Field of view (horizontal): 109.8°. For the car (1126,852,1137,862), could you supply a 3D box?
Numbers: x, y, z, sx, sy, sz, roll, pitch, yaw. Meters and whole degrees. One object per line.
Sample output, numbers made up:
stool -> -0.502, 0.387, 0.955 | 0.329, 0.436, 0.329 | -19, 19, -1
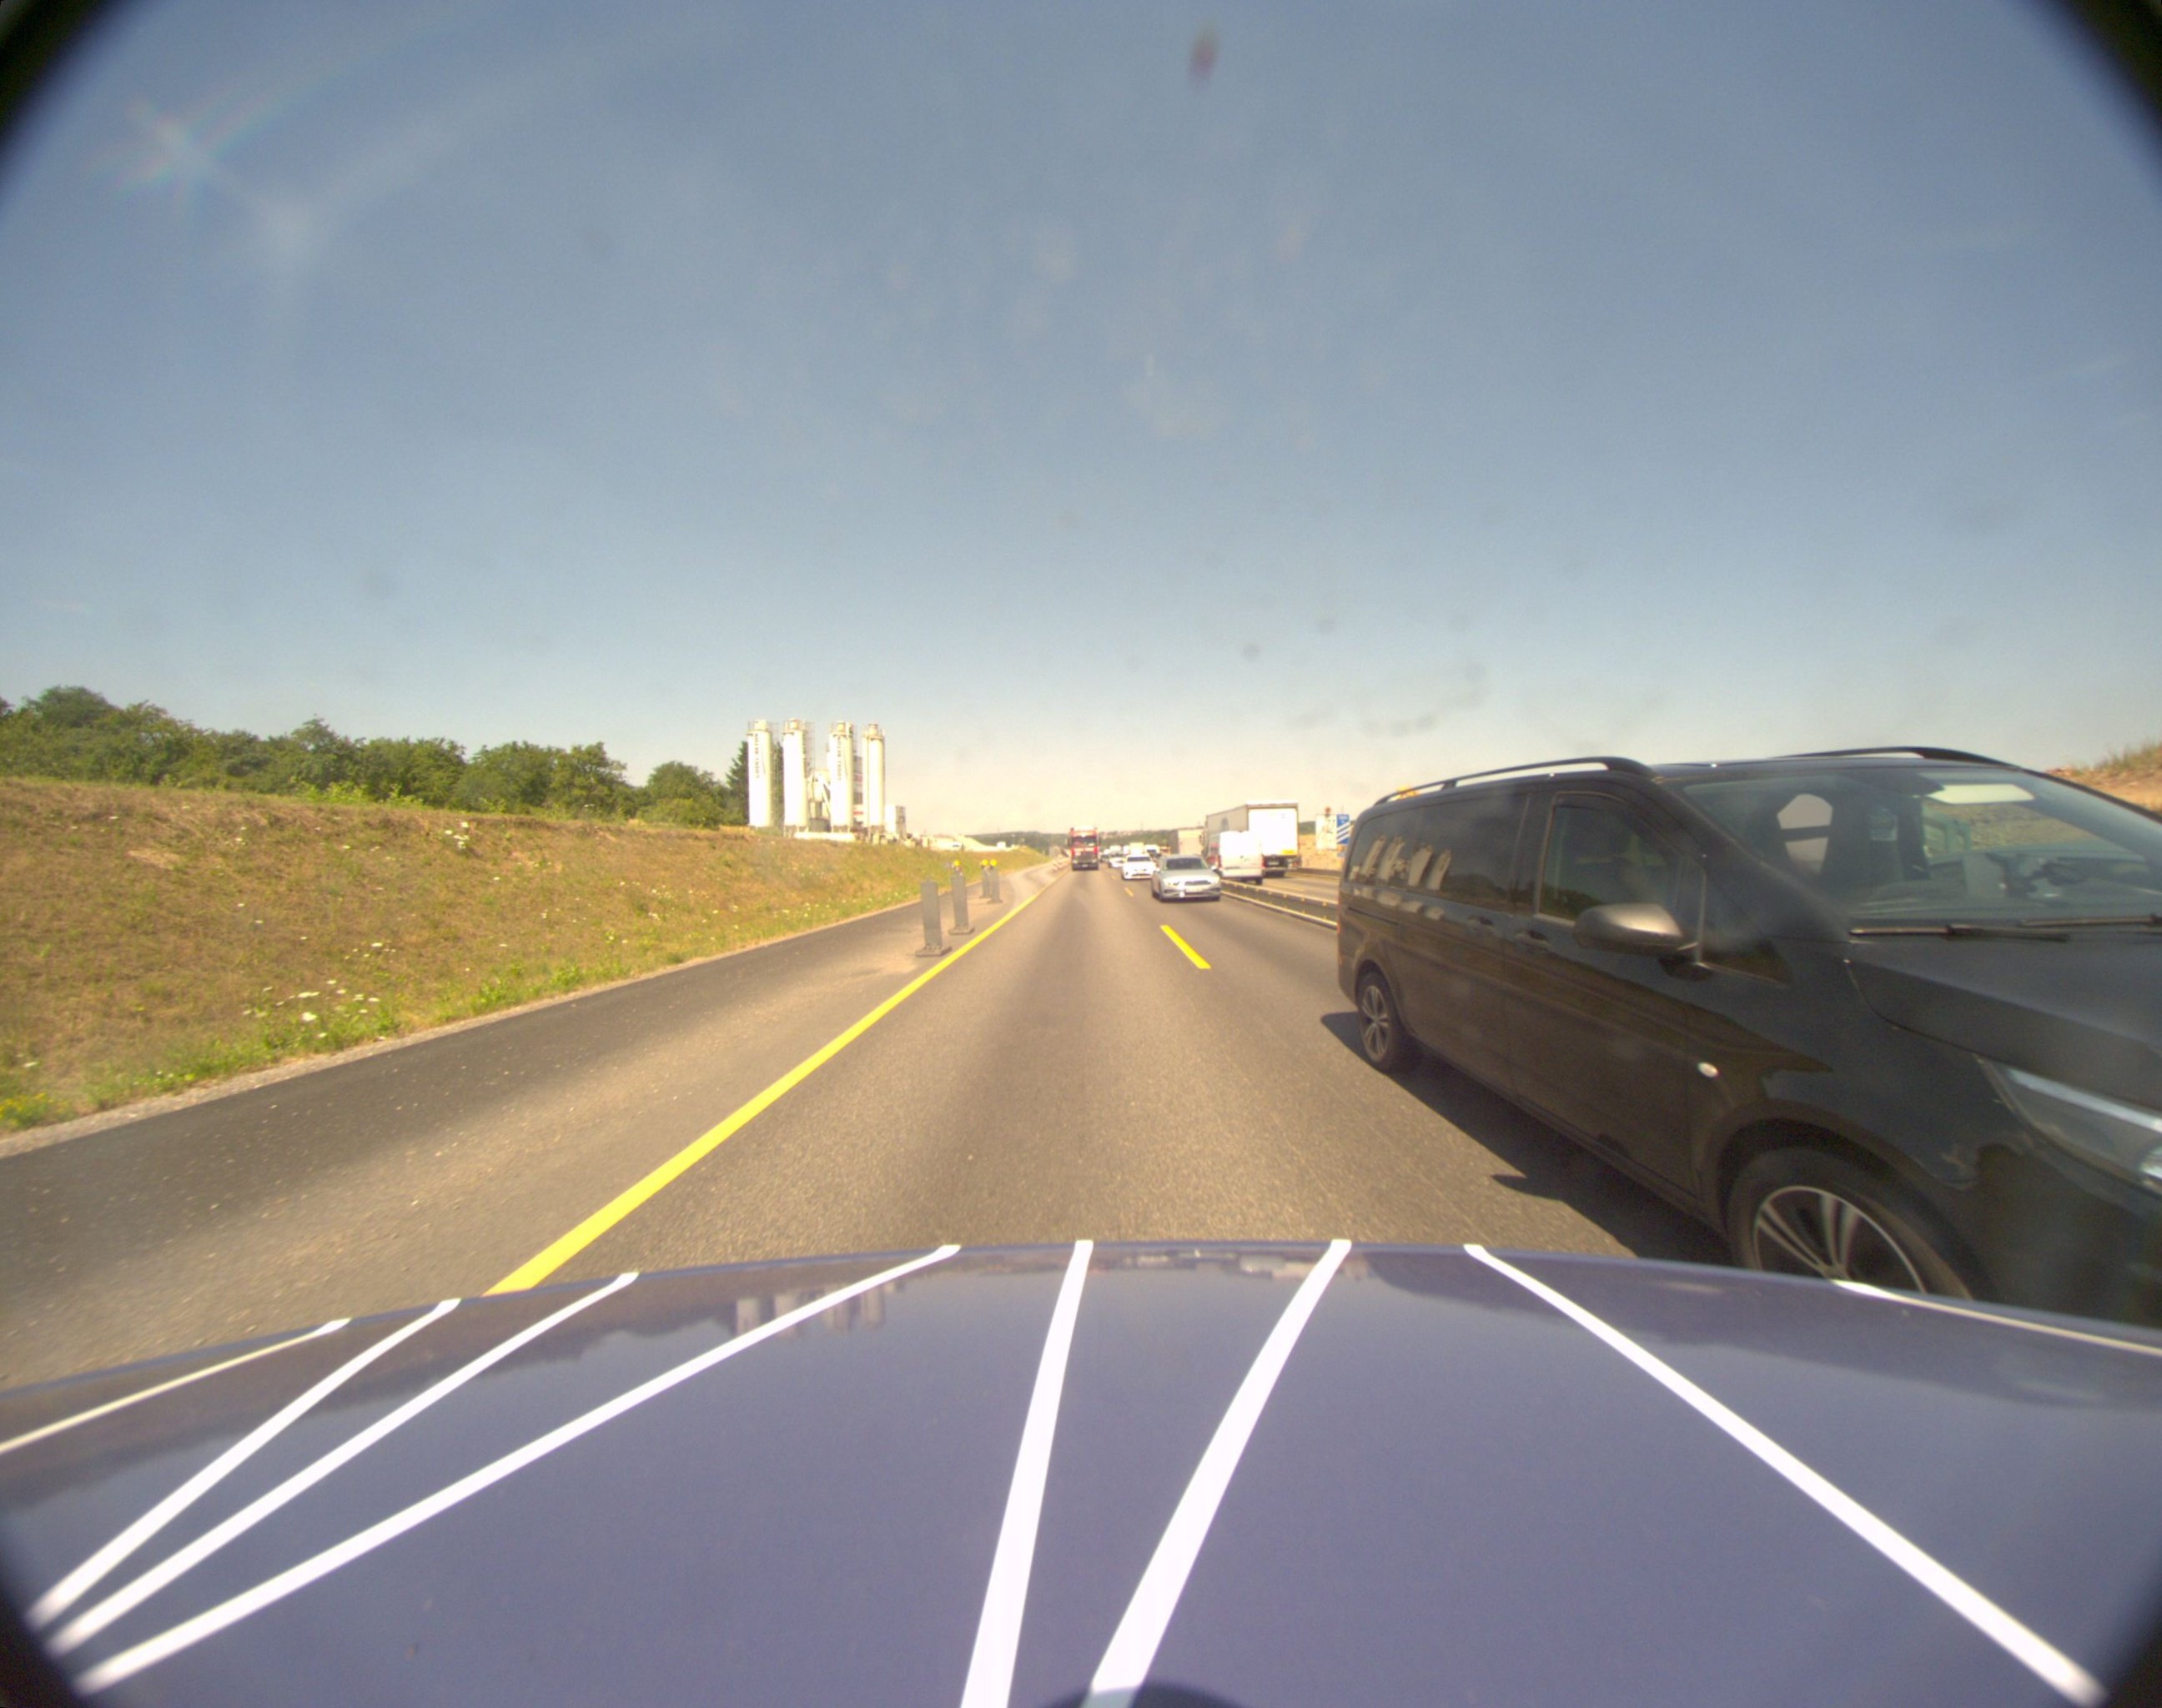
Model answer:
car -> 8.102, 0.495, 122.307 | 1.631, 1.476, 4.053 | -2, 1, 1

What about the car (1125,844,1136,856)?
car -> 12.067, -1.031, 186.042 | 2.257, 2.939, 5.848 | -2, 1, 1

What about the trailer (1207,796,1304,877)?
trailer -> 10.006, -0.972, 45.449 | 2.861, 4.070, 13.650 | -1, 1, 1

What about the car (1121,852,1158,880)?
car -> 3.247, 0.619, 42.901 | 1.875, 1.390, 4.029 | -2, 1, 2

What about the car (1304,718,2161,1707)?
car -> 2.778, 0.652, 3.565 | 1.878, 1.840, 5.478 | -2, 0, 1

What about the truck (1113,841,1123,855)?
truck -> 8.766, -1.344, 179.719 | 2.276, 3.132, 7.313 | -2, 1, 2

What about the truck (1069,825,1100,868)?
truck -> 0.420, -0.761, 73.311 | 2.537, 3.799, 9.480 | -2, 1, 2

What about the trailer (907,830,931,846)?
trailer -> -27.196, -2.693, 127.686 | 1.998, 2.629, 6.937 | -2, 1, 4

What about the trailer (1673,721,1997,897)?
trailer -> 20.287, -1.222, 20.411 | 8.376, 4.074, 2.795 | -3, 1, -20

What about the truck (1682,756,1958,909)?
truck -> 16.600, -0.453, 17.585 | 2.582, 2.947, 5.068 | -2, 1, 18

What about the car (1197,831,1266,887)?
car -> 6.740, 0.176, 34.559 | 1.998, 2.279, 5.342 | -2, 1, 0

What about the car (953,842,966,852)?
car -> -24.329, -1.423, 152.141 | 1.990, 1.752, 3.601 | -2, 1, 0

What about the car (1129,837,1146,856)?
car -> 11.563, -1.496, 155.987 | 2.915, 3.718, 8.090 | -2, 0, 1

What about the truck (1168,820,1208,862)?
truck -> 10.350, -1.268, 74.383 | 2.651, 3.695, 9.481 | -2, 1, 1

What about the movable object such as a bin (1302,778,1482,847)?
movable object such as a bin -> 33.966, -4.506, 83.483 | 18.266, 6.734, 3.388 | -2, 1, 1

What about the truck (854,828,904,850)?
truck -> -25.069, -1.850, 94.342 | 5.317, 2.530, 2.897 | -3, 1, -36

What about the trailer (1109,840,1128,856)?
trailer -> 11.222, -1.927, 227.435 | 2.995, 4.570, 12.873 | -3, 1, -8

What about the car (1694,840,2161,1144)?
car -> 6.357, 0.690, 4.847 | 1.693, 1.493, 3.976 | -2, 1, 1

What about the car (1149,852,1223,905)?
car -> 3.280, 0.721, 24.427 | 1.804, 1.499, 4.100 | -2, 0, 1

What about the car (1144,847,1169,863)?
car -> 7.600, 0.096, 76.652 | 1.862, 1.434, 4.500 | -2, 1, -2

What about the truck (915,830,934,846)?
truck -> -26.957, -2.732, 131.078 | 2.021, 2.530, 4.041 | -2, 1, 4

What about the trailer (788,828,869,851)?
trailer -> -30.740, -1.726, 92.628 | 8.919, 2.592, 2.463 | -1, 1, -3

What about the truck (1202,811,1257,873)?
truck -> 10.082, -0.839, 51.932 | 2.856, 3.995, 4.858 | -1, 1, 1

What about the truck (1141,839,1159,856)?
truck -> 11.073, -0.993, 122.465 | 2.103, 2.554, 6.355 | -3, -1, 0

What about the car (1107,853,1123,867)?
car -> 3.534, 0.603, 79.448 | 1.601, 1.390, 3.695 | -2, 1, 2

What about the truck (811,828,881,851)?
truck -> -33.404, -2.077, 108.014 | 9.090, 2.852, 2.460 | -2, 1, 7
